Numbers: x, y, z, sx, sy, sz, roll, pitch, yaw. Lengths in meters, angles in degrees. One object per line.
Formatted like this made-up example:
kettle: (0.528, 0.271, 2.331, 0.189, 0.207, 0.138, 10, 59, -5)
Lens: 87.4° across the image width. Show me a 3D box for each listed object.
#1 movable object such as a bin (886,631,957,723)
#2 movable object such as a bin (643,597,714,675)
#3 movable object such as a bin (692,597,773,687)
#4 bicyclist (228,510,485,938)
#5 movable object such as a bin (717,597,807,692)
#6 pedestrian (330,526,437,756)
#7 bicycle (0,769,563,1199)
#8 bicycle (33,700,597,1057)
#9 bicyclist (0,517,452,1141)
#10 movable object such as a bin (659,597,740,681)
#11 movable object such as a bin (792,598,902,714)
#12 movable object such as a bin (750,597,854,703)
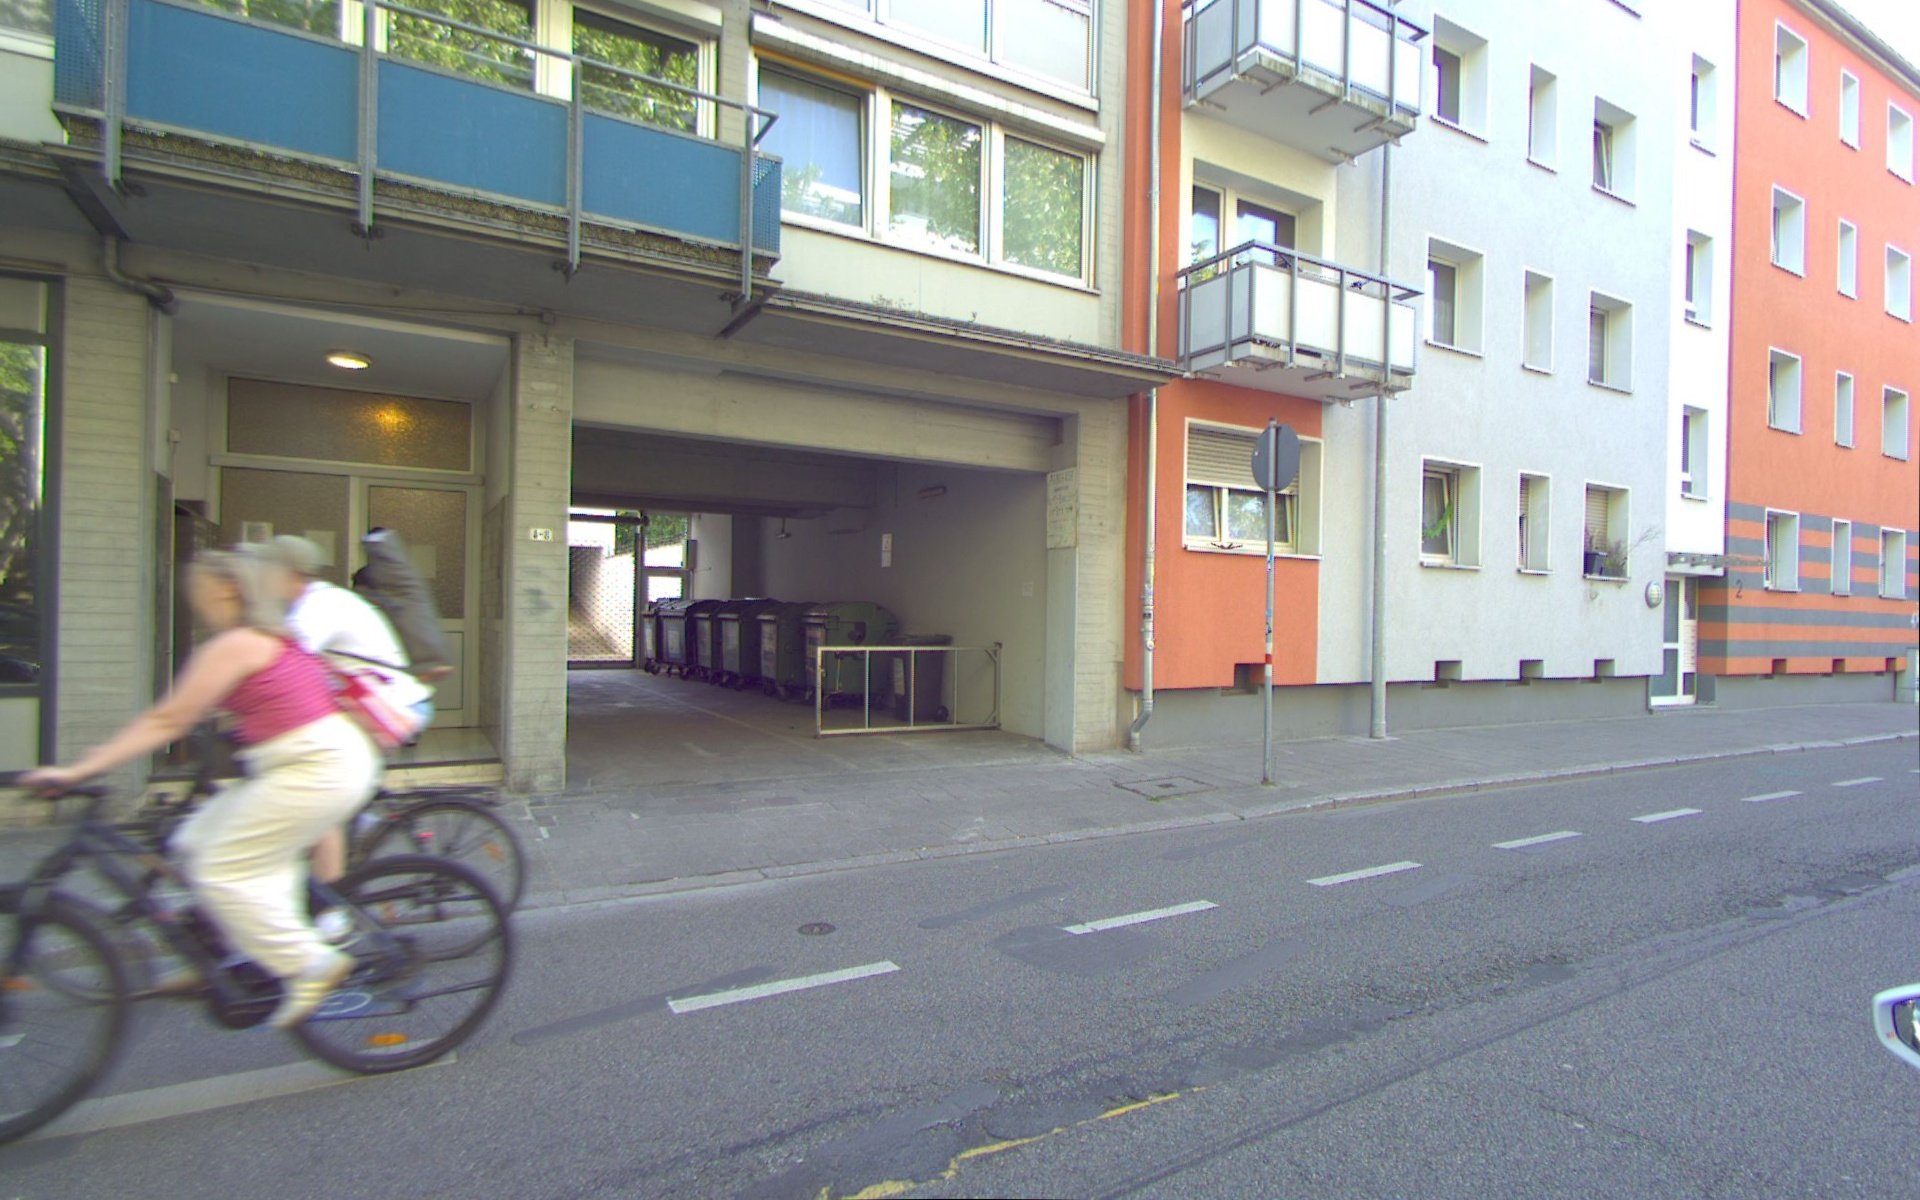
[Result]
movable object such as a bin: (-0.481, 0.939, 12.474, 0.687, 1.094, 0.579, 1, 0, -30)
movable object such as a bin: (-5.588, 0.700, 19.927, 1.167, 1.503, 0.819, 1, 0, -30)
movable object such as a bin: (-4.012, 0.717, 17.656, 1.080, 1.503, 1.159, 1, 0, -30)
bicyclist: (-2.506, 0.467, 4.268, 0.829, 1.575, 0.839, 1, 0, -28)
movable object such as a bin: (-3.294, 0.720, 16.649, 1.167, 1.503, 1.073, 1, 0, -30)
pedestrian: (-4.593, 0.318, 7.999, 0.656, 1.736, 0.542, 1, 0, -37)
bicycle: (-2.202, 1.074, 3.041, 1.836, 0.941, 0.692, 1, 0, -22)
bicycle: (-2.559, 1.034, 4.247, 1.813, 1.093, 0.859, 1, 0, -28)
bicyclist: (-2.144, 0.598, 3.067, 0.967, 1.599, 0.683, 1, 0, -22)
movable object such as a bin: (-4.857, 0.705, 18.712, 1.167, 1.503, 1.215, 1, 0, -30)
movable object such as a bin: (-1.563, 0.737, 13.796, 1.086, 1.503, 1.251, 1, 0, -30)
movable object such as a bin: (-2.404, 0.728, 15.158, 1.167, 1.503, 1.252, 1, 0, -30)
